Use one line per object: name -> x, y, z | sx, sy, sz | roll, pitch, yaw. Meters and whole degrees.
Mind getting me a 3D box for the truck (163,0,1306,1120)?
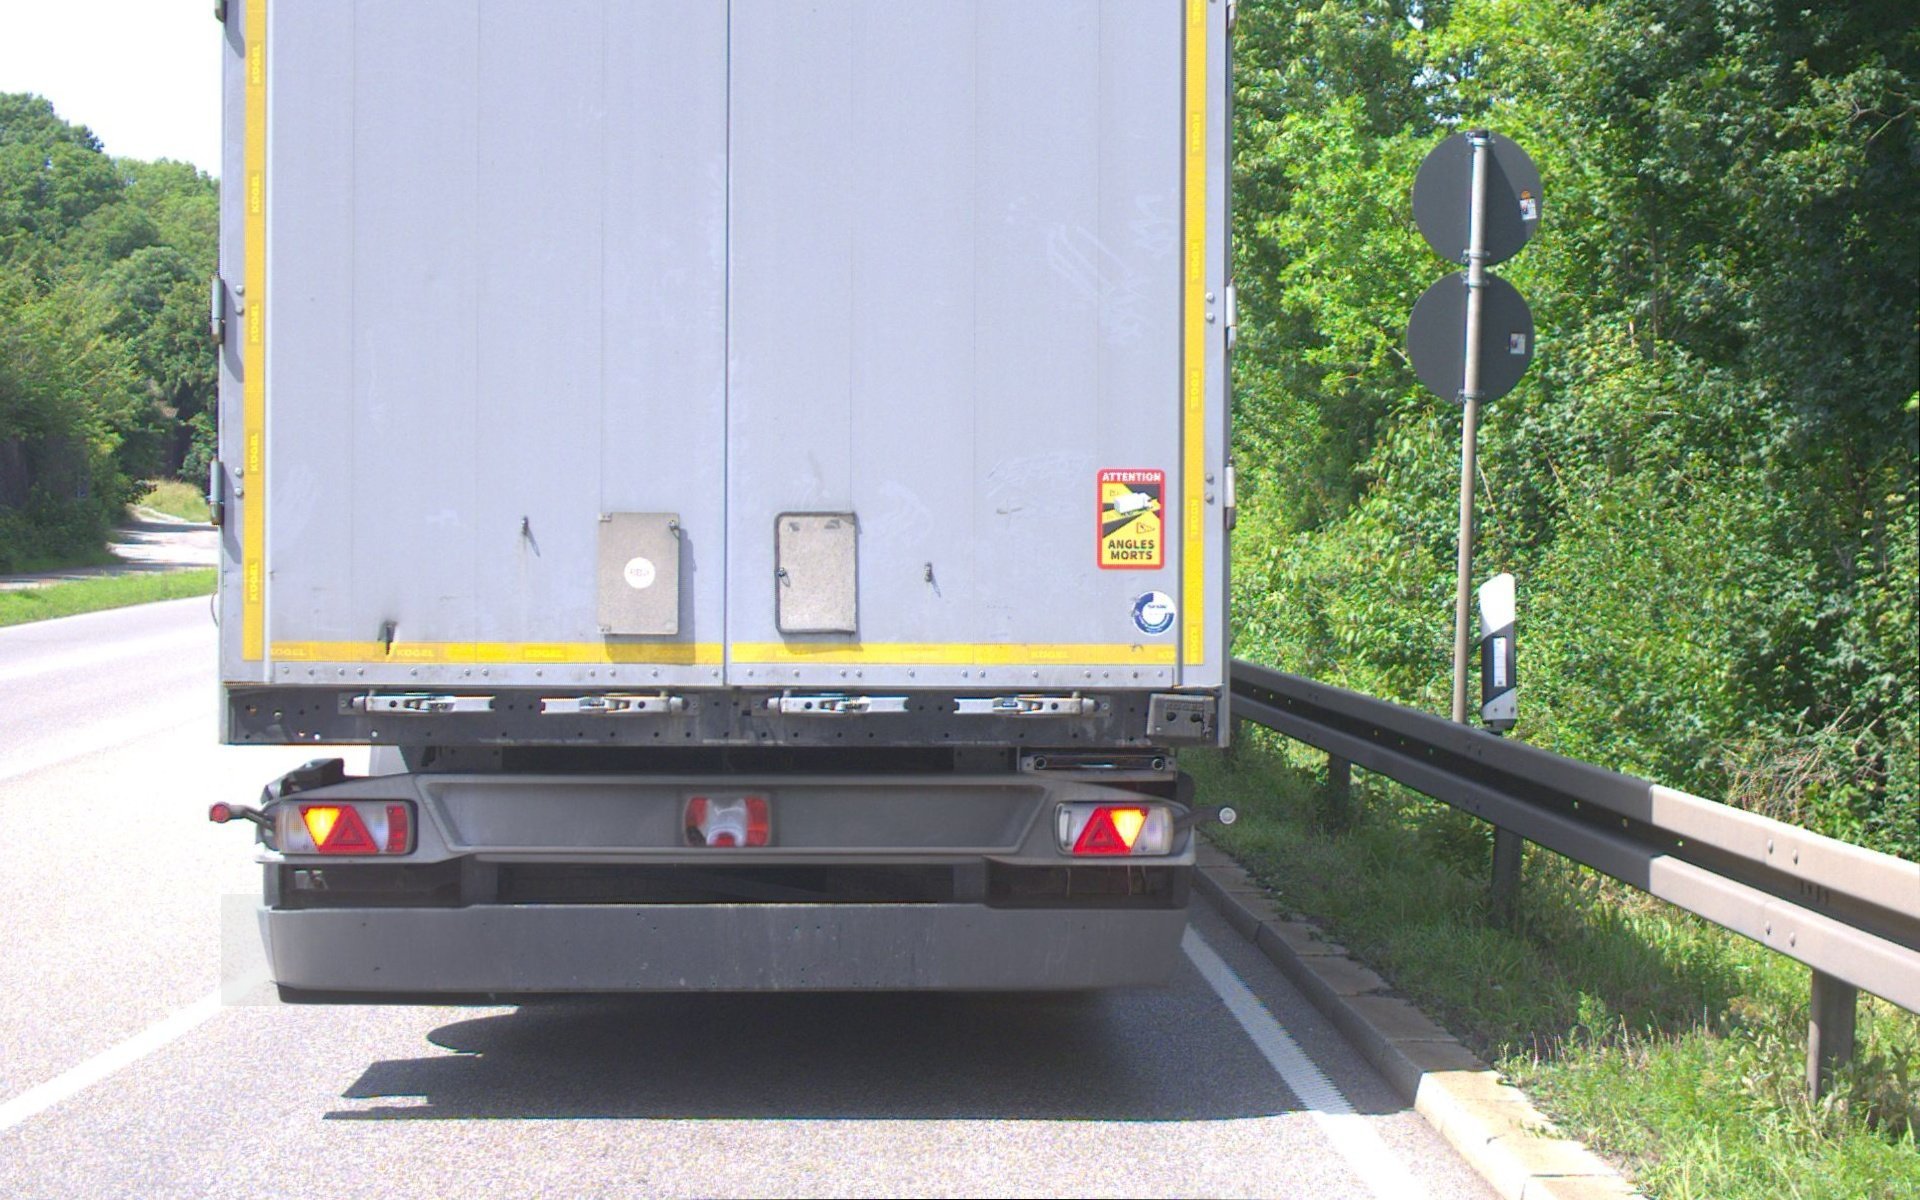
truck -> -0.688, -0.869, 14.310 | 2.757, 4.016, 11.925 | 0, 1, -1
